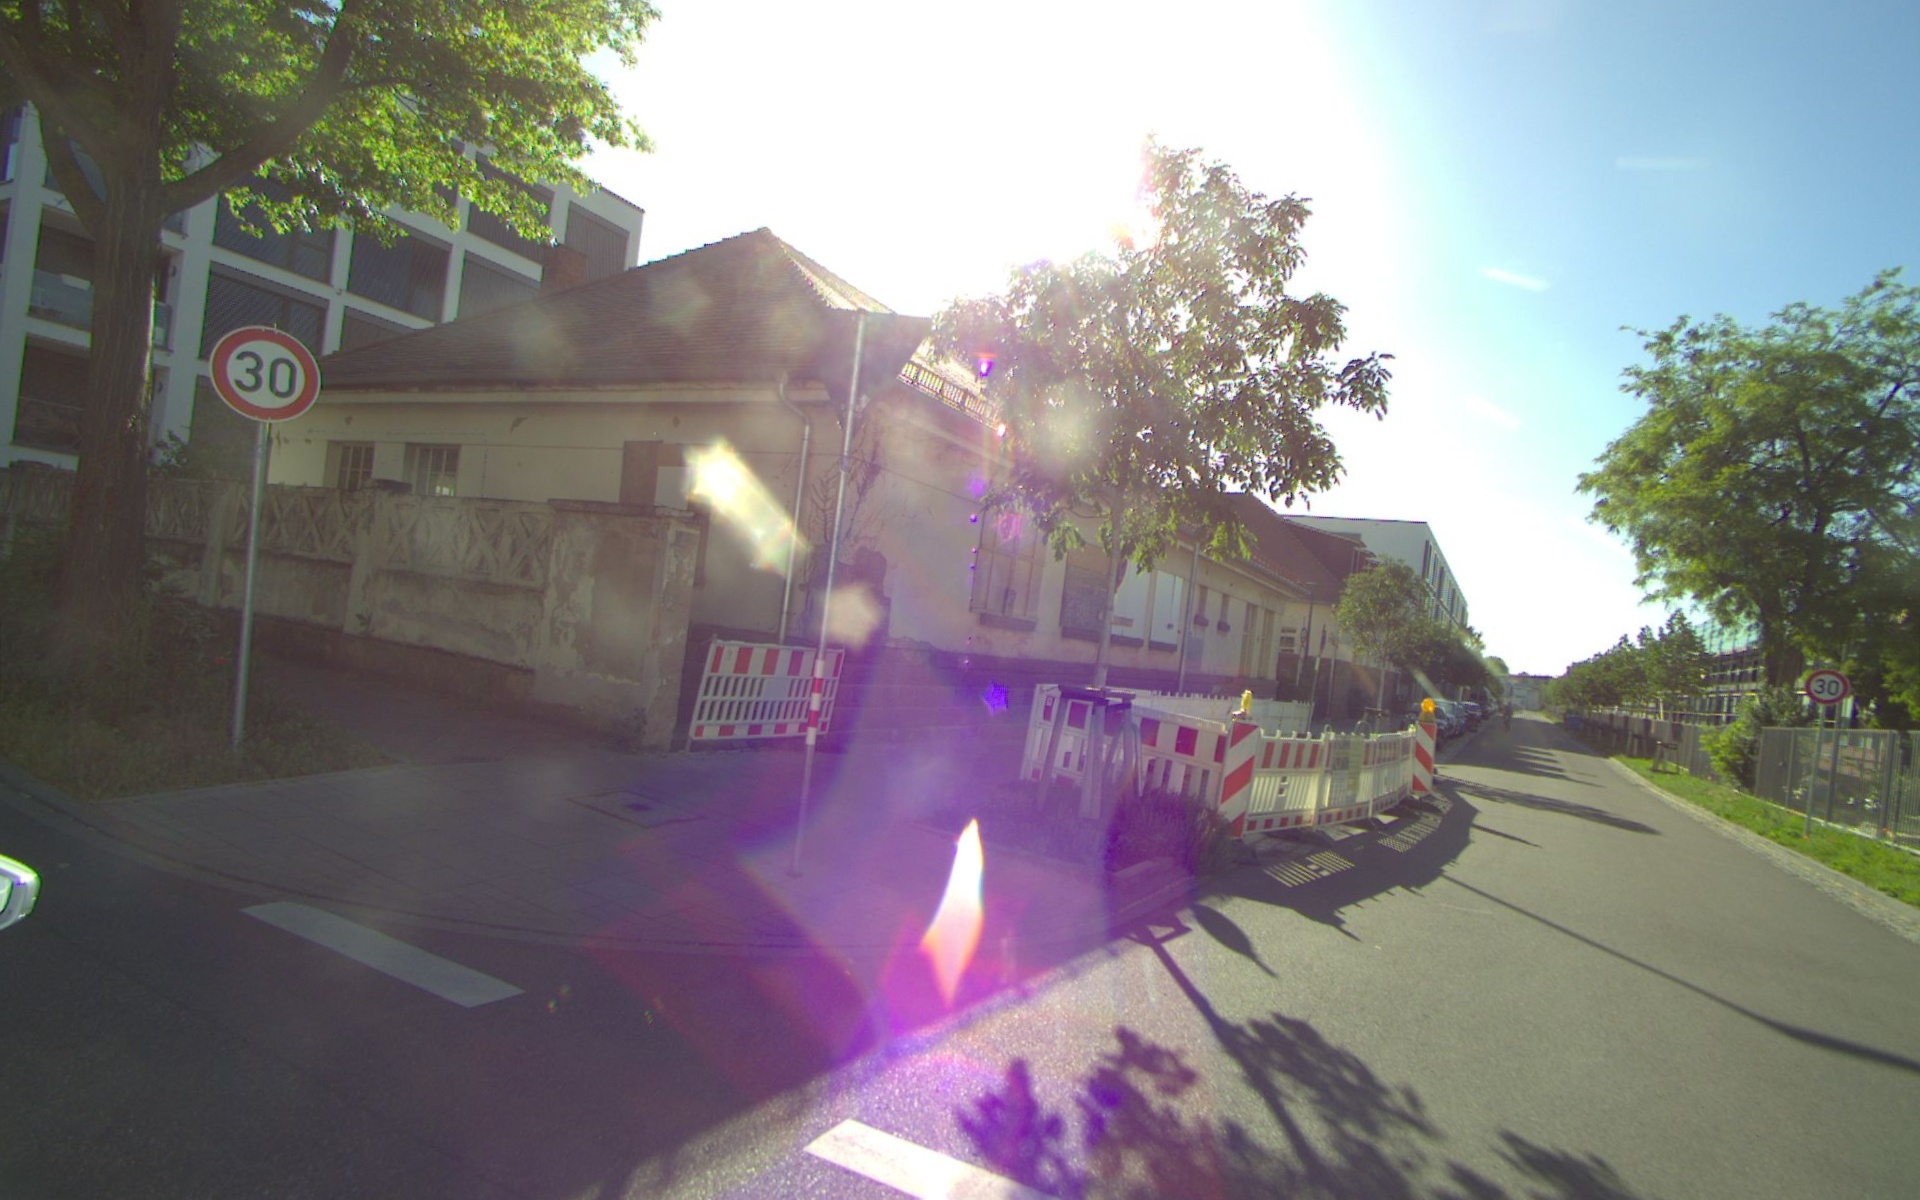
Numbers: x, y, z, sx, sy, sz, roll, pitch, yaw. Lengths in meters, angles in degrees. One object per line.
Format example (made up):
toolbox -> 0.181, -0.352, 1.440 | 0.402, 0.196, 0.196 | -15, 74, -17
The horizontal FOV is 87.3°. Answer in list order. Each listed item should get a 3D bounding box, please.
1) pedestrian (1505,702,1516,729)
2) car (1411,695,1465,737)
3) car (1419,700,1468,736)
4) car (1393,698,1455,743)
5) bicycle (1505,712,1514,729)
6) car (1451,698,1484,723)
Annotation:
pedestrian -> 37.142, 7.816, 67.925 | 0.471, 1.741, 0.484 | 7, -1, 29
car -> 21.263, 5.130, 44.714 | 1.784, 1.547, 3.323 | 7, -2, 30
car -> 23.532, 5.696, 48.916 | 1.784, 1.429, 3.323 | 7, -2, 30
car -> 18.415, 4.752, 39.867 | 1.784, 1.423, 3.323 | 7, -2, 30
bicycle -> 37.043, 8.118, 67.814 | 0.432, 1.109, 1.658 | 7, -2, 29
car -> 36.533, 7.940, 72.368 | 1.784, 1.429, 3.323 | 7, -2, 30
